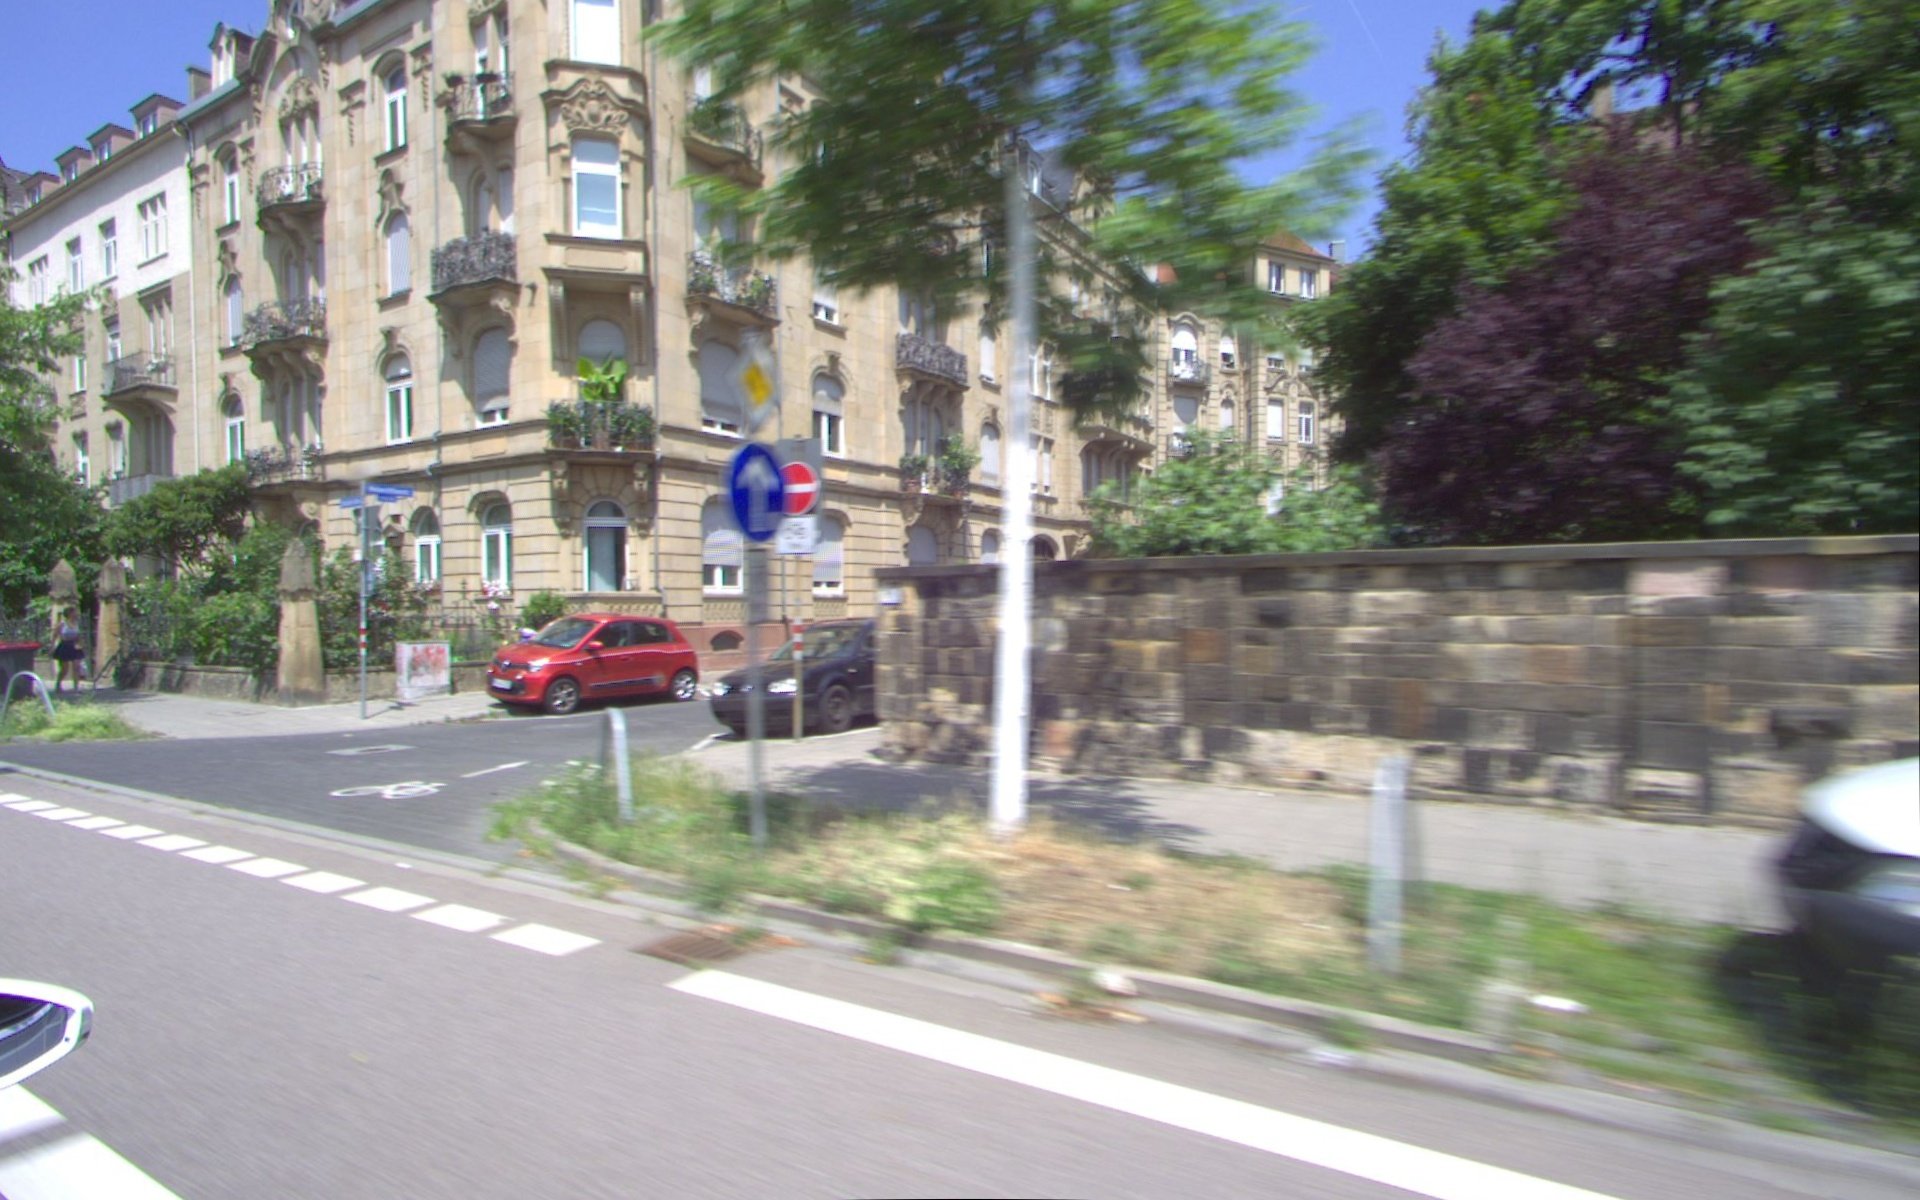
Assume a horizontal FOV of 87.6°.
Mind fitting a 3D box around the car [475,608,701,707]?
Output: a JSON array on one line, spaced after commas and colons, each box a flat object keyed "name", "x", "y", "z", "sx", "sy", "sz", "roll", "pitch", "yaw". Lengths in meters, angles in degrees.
[{"name": "car", "x": -6.345, "y": 0.912, "z": 17.376, "sx": 1.533, "sy": 1.511, "sz": 3.443, "roll": 0, "pitch": 0, "yaw": 34}]

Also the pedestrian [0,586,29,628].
[{"name": "pedestrian", "x": -24.821, "y": 0.177, "z": 25.974, "sx": 0.751, "sy": 1.084, "sz": 0.862, "roll": 0, "pitch": 1, "yaw": 36}]

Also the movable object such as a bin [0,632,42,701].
[{"name": "movable object such as a bin", "x": -15.262, "y": 1.068, "z": 16.113, "sx": 0.490, "sy": 1.076, "sz": 0.667, "roll": 0, "pitch": 0, "yaw": 38}]

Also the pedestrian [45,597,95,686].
[{"name": "pedestrian", "x": -16.690, "y": 0.762, "z": 18.777, "sx": 0.718, "sy": 1.619, "sz": 0.550, "roll": 0, "pitch": 0, "yaw": 34}]

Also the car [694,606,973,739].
[{"name": "car", "x": -1.562, "y": 0.891, "z": 13.925, "sx": 1.649, "sy": 1.510, "sz": 4.175, "roll": -2, "pitch": -1, "yaw": 30}]

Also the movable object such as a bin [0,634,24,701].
[{"name": "movable object such as a bin", "x": -15.835, "y": 1.107, "z": 16.345, "sx": 0.490, "sy": 1.076, "sz": 0.743, "roll": 0, "pitch": 0, "yaw": 38}]

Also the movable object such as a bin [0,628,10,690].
[{"name": "movable object such as a bin", "x": -16.439, "y": 0.993, "z": 16.766, "sx": 0.556, "sy": 1.024, "sz": 0.596, "roll": 0, "pitch": 0, "yaw": 22}]

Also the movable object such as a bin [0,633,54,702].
[{"name": "movable object such as a bin", "x": -14.748, "y": 1.047, "z": 15.642, "sx": 0.642, "sy": 1.027, "sz": 0.784, "roll": 0, "pitch": 1, "yaw": 38}]

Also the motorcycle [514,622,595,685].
[{"name": "motorcycle", "x": -8.015, "y": 1.030, "z": 19.843, "sx": 0.462, "sy": 1.179, "sz": 1.500, "roll": 0, "pitch": 0, "yaw": 34}]

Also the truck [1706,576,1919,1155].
[{"name": "truck", "x": 4.704, "y": 0.696, "z": 2.457, "sx": 4.398, "sy": 1.546, "sz": 1.787, "roll": 0, "pitch": 0, "yaw": 30}]
